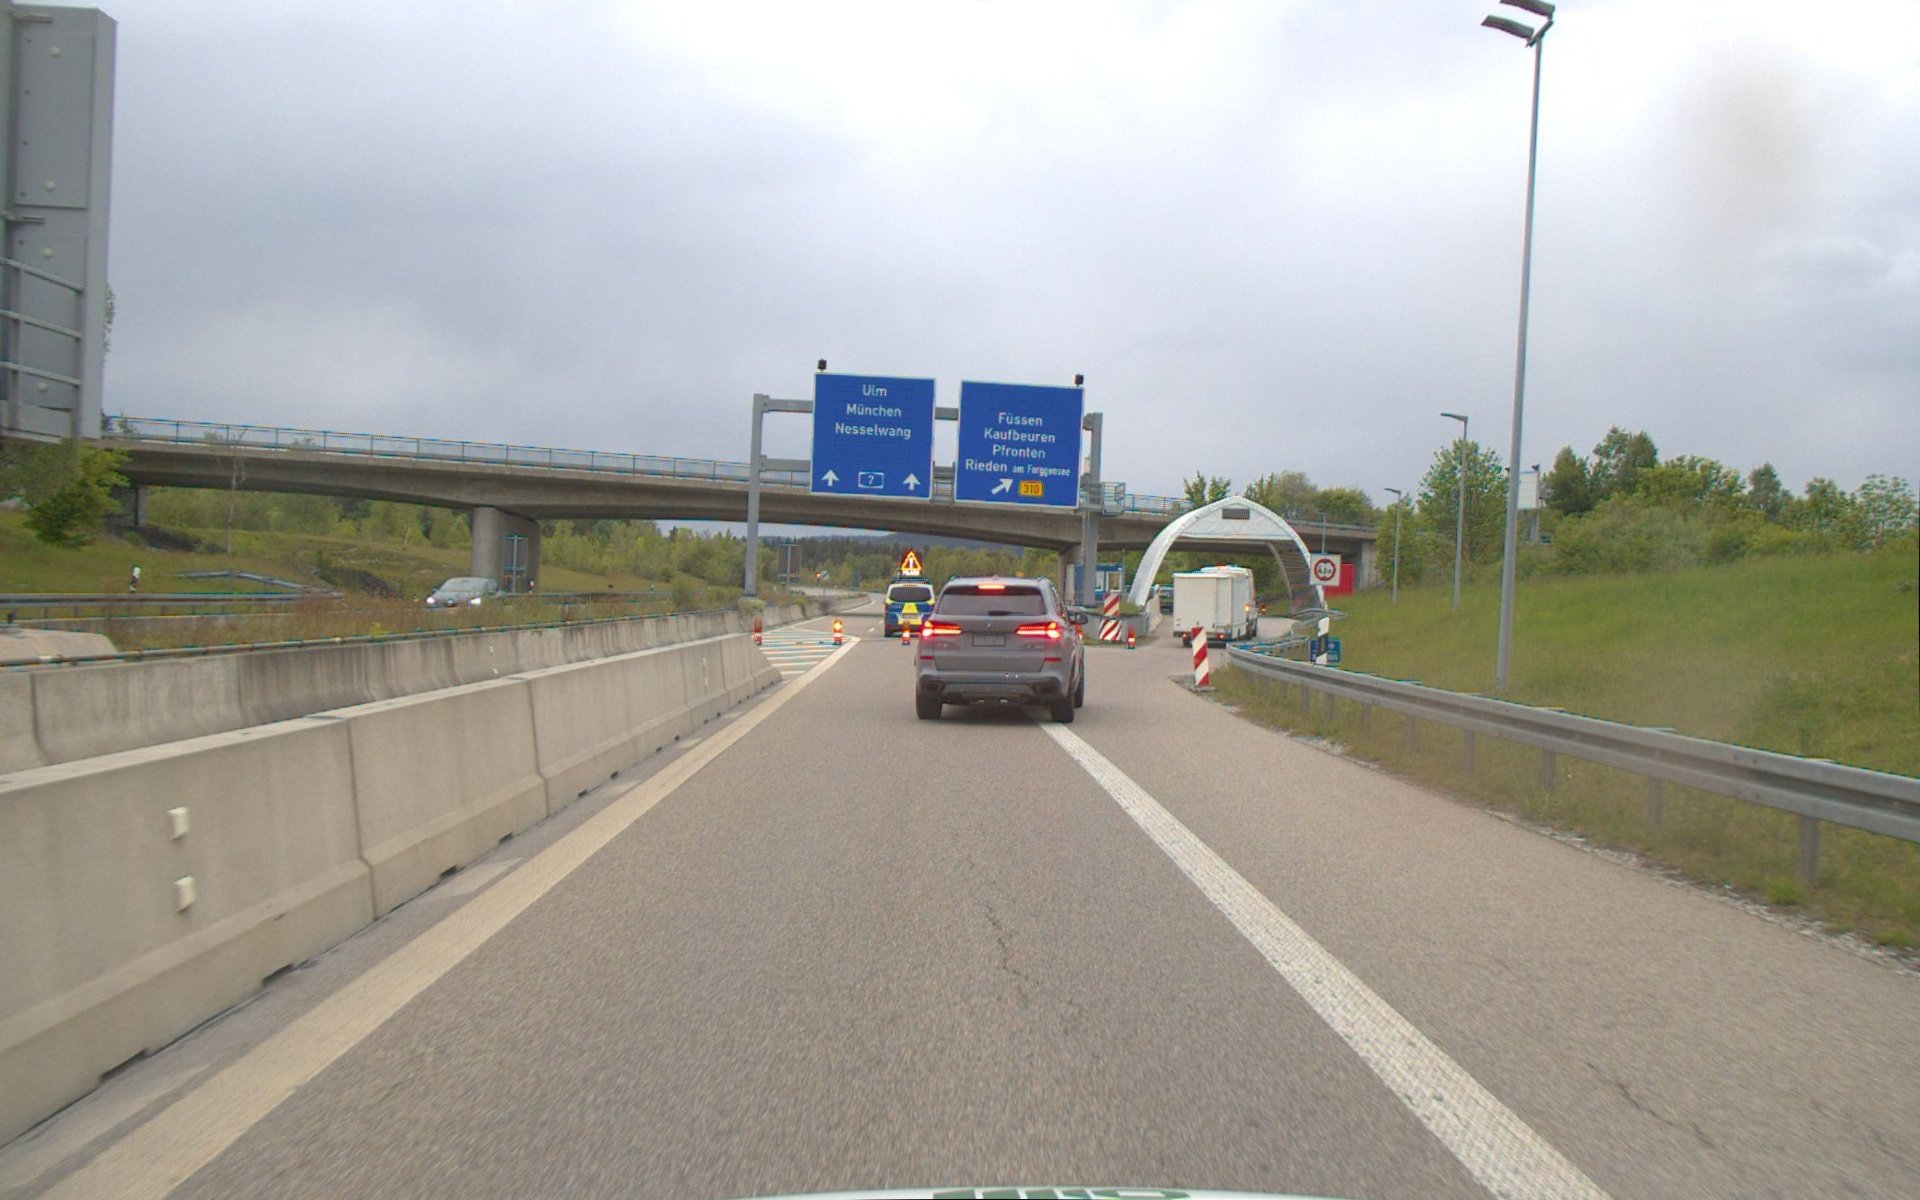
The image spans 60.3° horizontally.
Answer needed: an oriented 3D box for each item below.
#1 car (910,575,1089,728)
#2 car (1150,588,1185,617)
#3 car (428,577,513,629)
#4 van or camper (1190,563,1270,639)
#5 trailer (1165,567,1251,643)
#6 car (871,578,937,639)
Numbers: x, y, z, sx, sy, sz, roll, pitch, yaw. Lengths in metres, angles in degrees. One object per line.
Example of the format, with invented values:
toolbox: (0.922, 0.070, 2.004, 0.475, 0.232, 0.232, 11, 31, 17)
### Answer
car: (0.610, 0.595, 21.299, 1.951, 1.749, 4.003, 1, 0, 6)
car: (13.266, 0.160, 105.894, 1.952, 1.803, 3.767, 0, 0, 2)
car: (-15.234, 0.075, 51.674, 1.575, 1.527, 3.836, 2, 0, -2)
van or camper: (10.543, 0.056, 64.184, 2.112, 2.812, 5.873, 1, 0, 19)
trailer: (8.784, 0.191, 57.999, 2.230, 2.473, 6.822, 1, 0, 15)
car: (-2.048, 0.259, 59.863, 2.240, 2.049, 5.047, 1, 1, -3)
